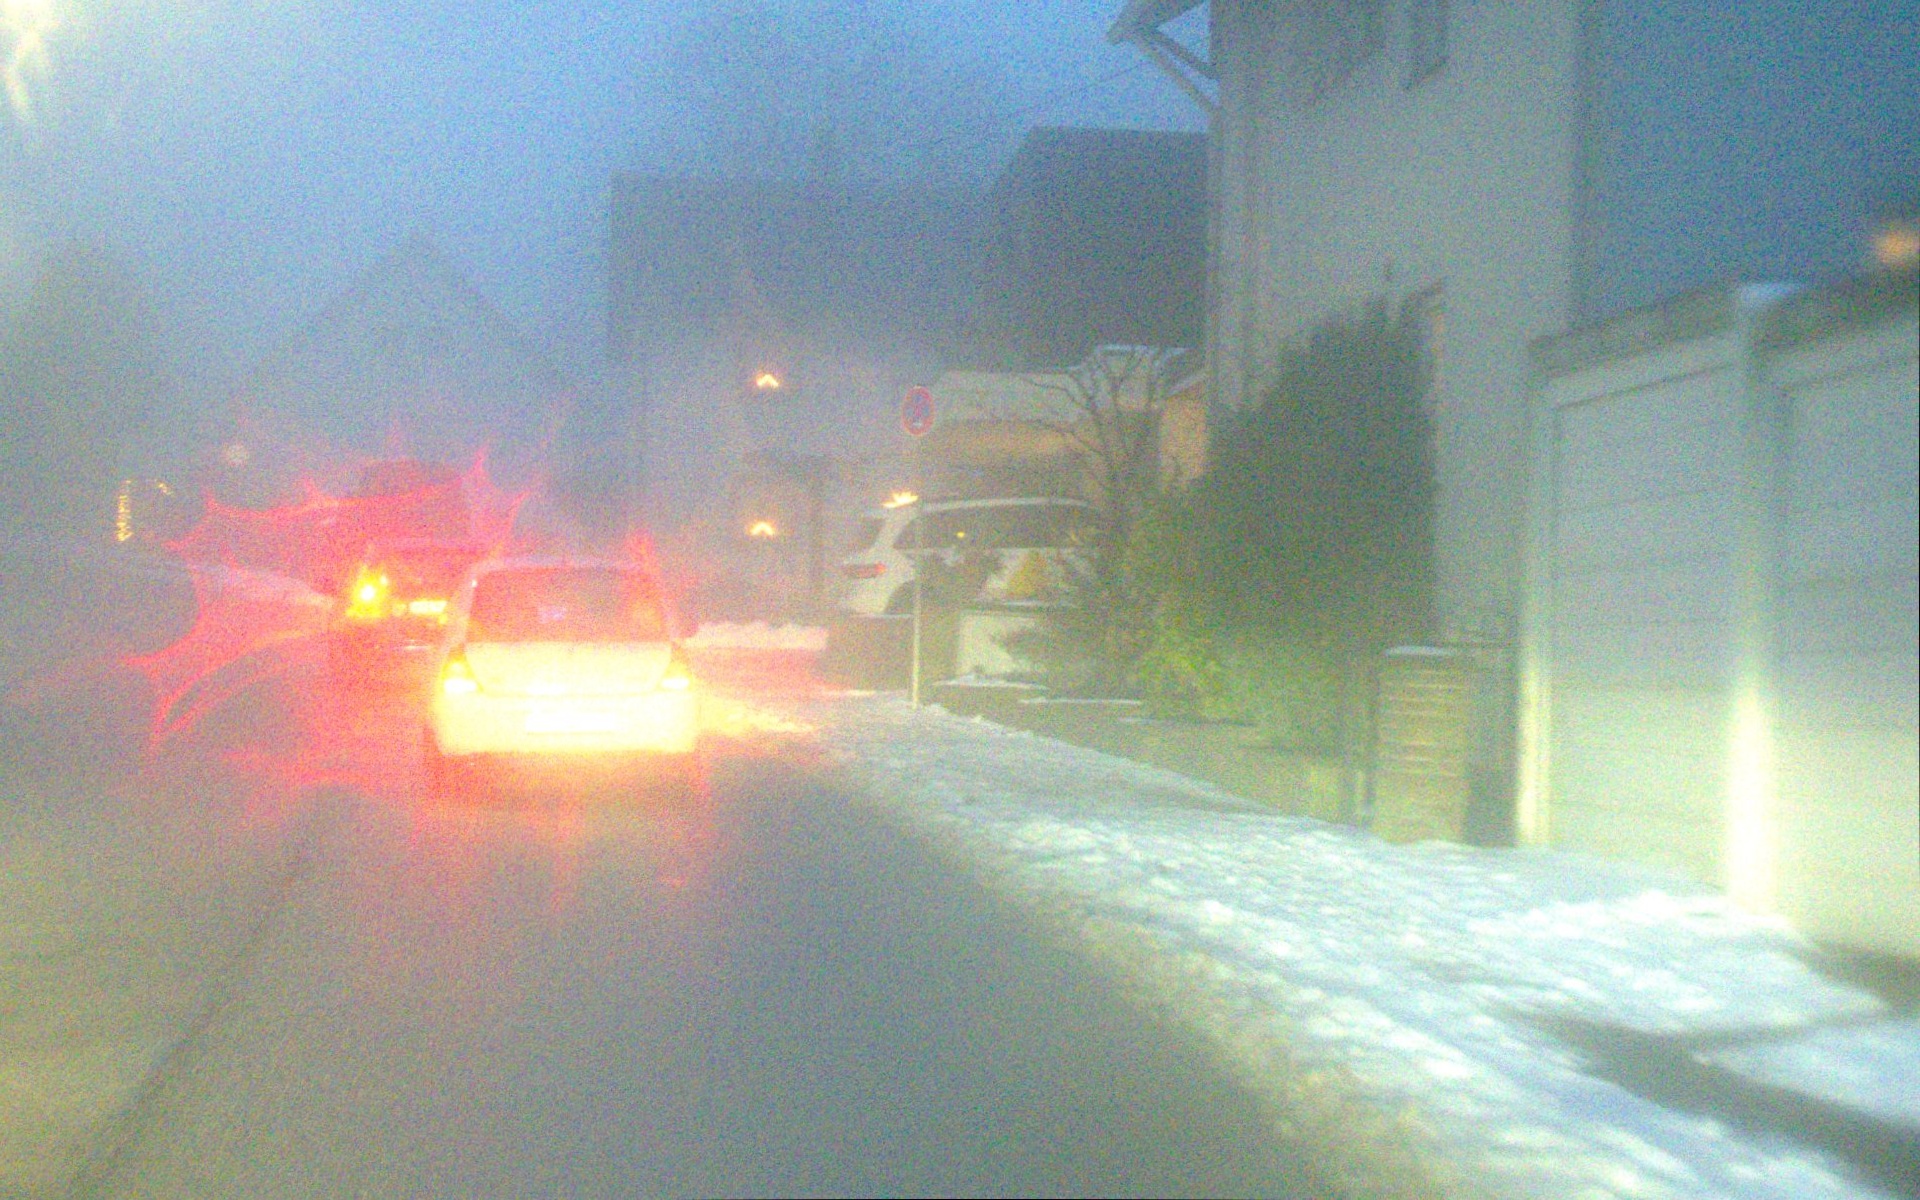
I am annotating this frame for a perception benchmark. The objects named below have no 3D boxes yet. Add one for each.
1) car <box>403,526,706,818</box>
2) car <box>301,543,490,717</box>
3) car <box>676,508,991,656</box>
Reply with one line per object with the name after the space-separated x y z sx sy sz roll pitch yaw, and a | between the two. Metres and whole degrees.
-2.523 0.439 21.513 1.645 1.590 3.700 3 -1 -6 | car
-5.683 0.312 34.929 1.645 1.590 3.700 3 -1 -7 | car
-1.680 -0.213 45.028 3.986 1.810 2.000 1 -1 -4 | car
